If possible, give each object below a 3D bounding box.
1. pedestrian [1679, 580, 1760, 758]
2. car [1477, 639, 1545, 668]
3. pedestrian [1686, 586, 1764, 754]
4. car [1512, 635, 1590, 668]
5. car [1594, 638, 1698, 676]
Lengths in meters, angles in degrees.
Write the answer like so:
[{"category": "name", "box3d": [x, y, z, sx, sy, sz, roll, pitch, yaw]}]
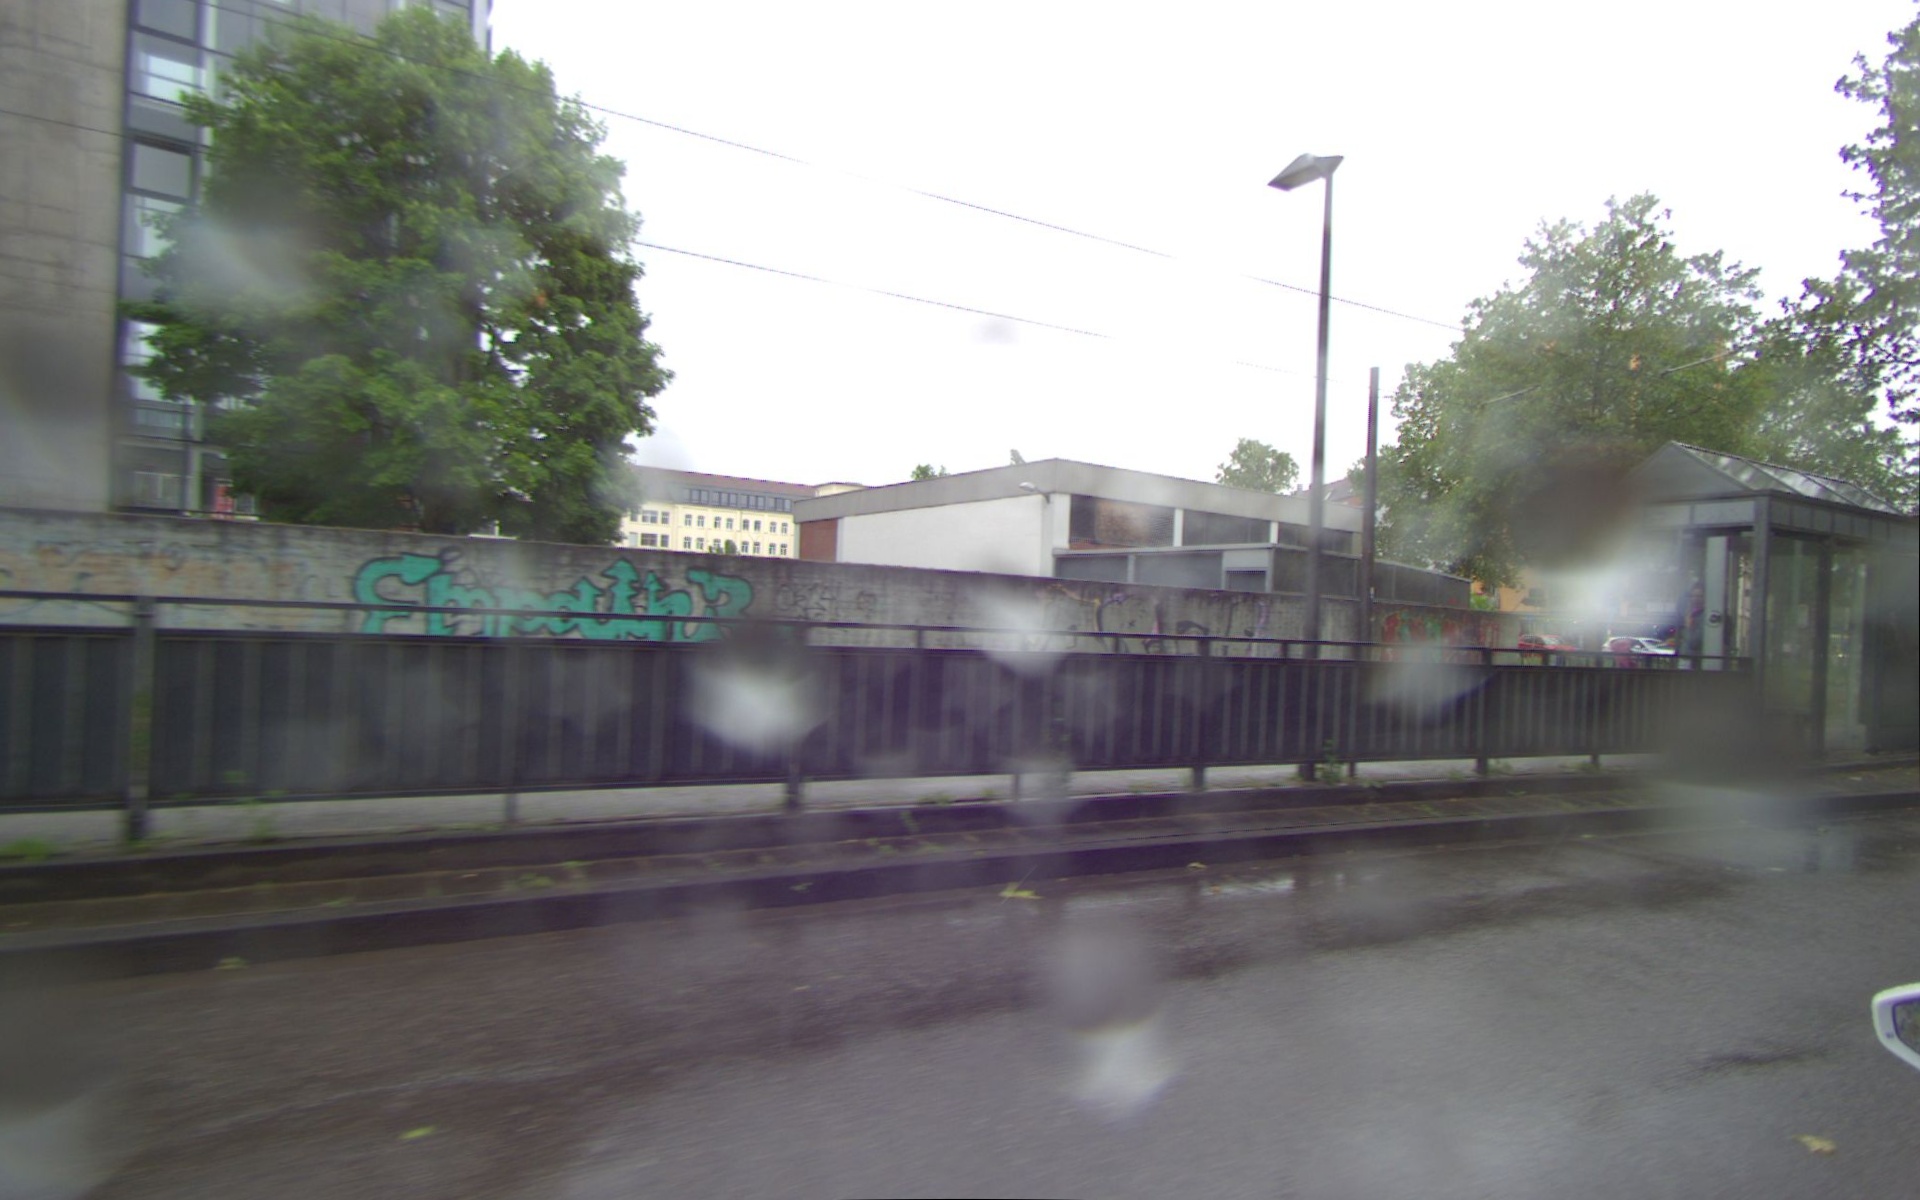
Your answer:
[{"category": "pedestrian", "box3d": [7.763, 0.690, 10.282, 0.572, 1.754, 0.567, 1, -2, 29]}, {"category": "car", "box3d": [32.892, 3.170, 60.040, 1.693, 1.661, 3.790, 2, -2, -7]}, {"category": "pedestrian", "box3d": [8.291, 0.746, 10.904, 0.572, 1.754, 0.568, 1, -2, 27]}, {"category": "car", "box3d": [31.843, 2.761, 54.221, 1.693, 1.661, 3.790, 2, -2, -7]}, {"category": "car", "box3d": [32.640, 2.672, 47.901, 1.936, 1.673, 4.016, 2, -2, -7]}]
